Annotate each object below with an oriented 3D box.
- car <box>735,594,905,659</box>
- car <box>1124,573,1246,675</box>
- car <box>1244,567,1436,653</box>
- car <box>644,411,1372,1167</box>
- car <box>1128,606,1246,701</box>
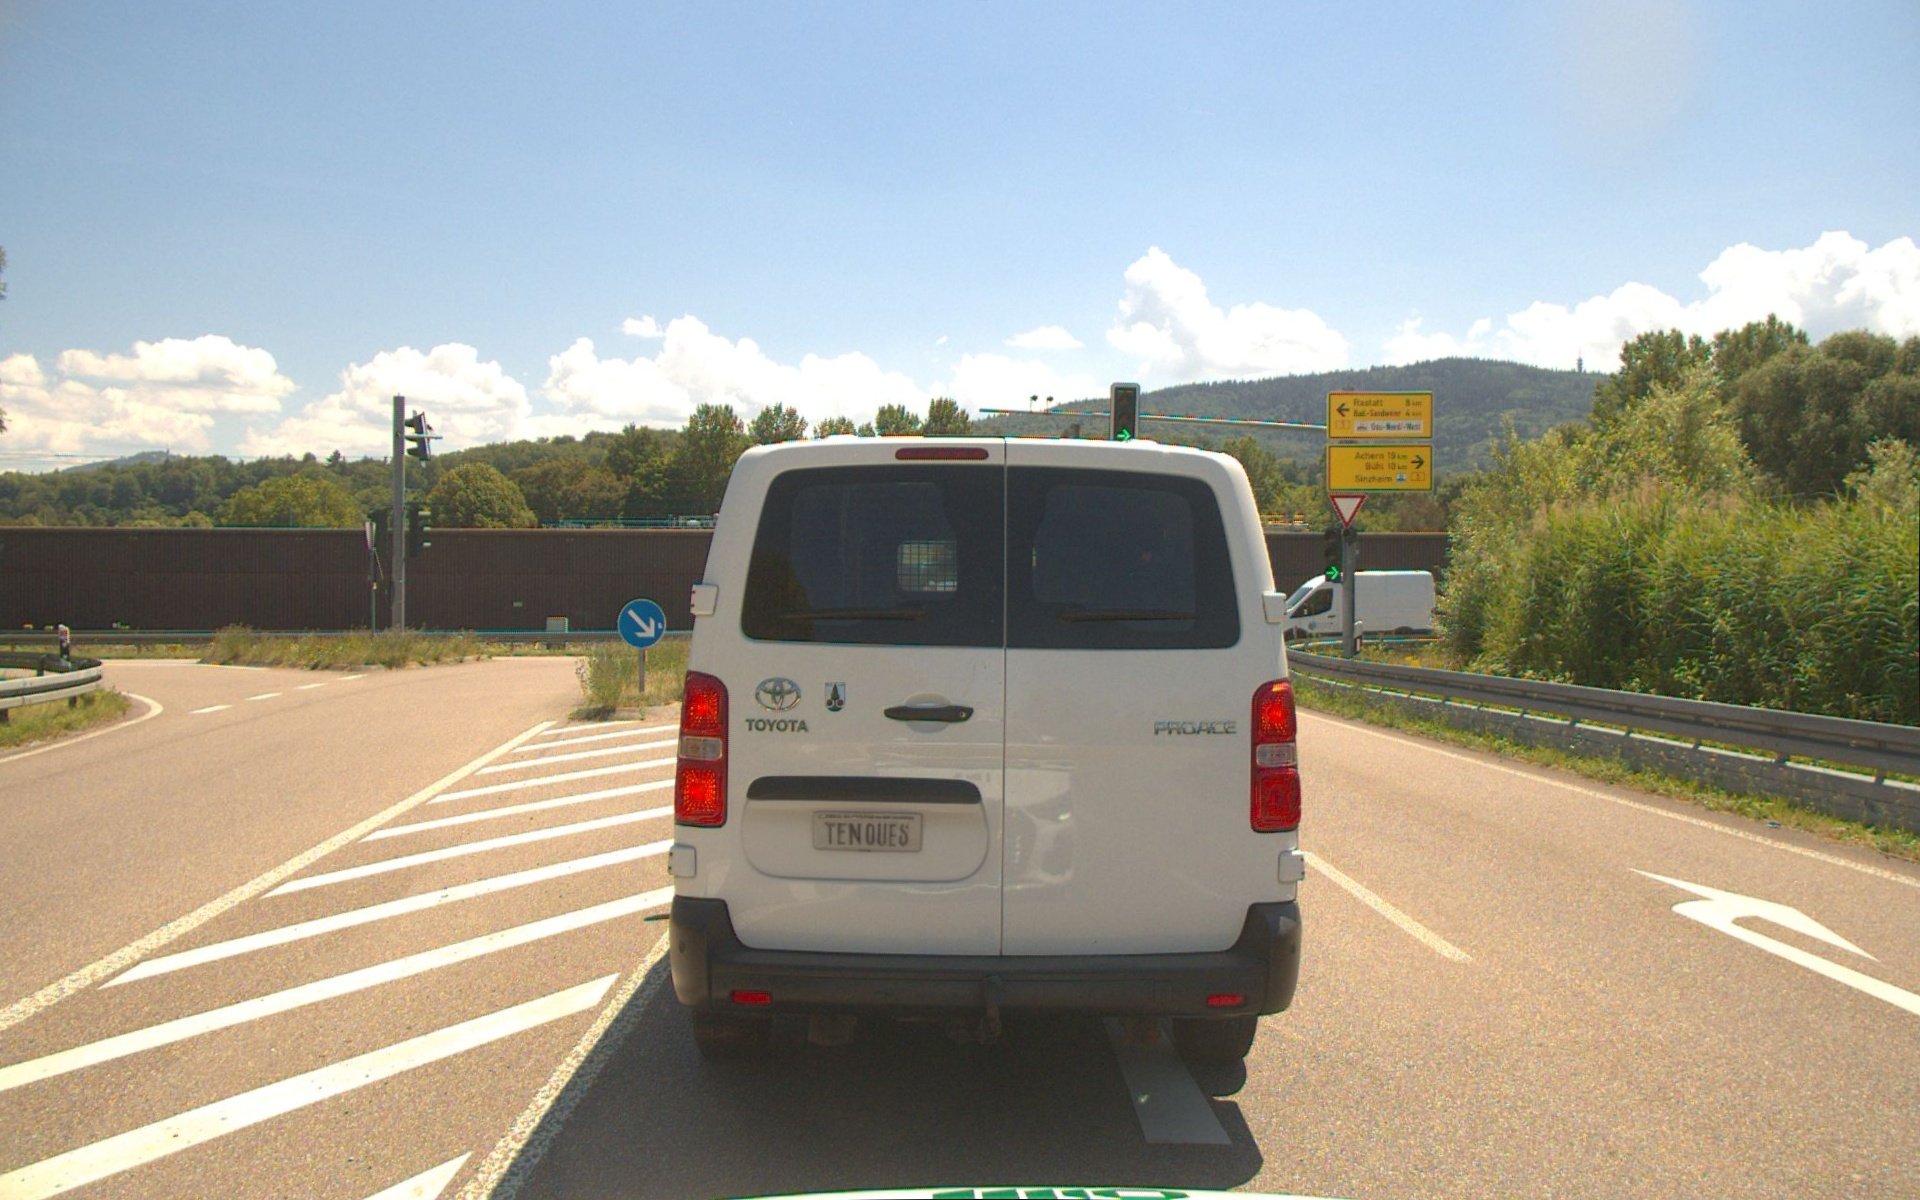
[{"bbox_3d":[-3.736,0.694,44.576,4.288,1.685,1.969,1,0,-43],"label":"car"},{"bbox_3d":[4.967,0.504,35.984,1.888,2.035,4.840,1,0,16],"label":"car"},{"bbox_3d":[11.321,0.288,49.465,5.238,2.493,2.038,0,0,-3],"label":"car"},{"bbox_3d":[0.085,0.499,6.247,1.848,1.919,3.999,1,0,-1],"label":"car"},{"bbox_3d":[3.680,0.834,27.238,1.621,1.456,3.367,1,0,3],"label":"car"}]
